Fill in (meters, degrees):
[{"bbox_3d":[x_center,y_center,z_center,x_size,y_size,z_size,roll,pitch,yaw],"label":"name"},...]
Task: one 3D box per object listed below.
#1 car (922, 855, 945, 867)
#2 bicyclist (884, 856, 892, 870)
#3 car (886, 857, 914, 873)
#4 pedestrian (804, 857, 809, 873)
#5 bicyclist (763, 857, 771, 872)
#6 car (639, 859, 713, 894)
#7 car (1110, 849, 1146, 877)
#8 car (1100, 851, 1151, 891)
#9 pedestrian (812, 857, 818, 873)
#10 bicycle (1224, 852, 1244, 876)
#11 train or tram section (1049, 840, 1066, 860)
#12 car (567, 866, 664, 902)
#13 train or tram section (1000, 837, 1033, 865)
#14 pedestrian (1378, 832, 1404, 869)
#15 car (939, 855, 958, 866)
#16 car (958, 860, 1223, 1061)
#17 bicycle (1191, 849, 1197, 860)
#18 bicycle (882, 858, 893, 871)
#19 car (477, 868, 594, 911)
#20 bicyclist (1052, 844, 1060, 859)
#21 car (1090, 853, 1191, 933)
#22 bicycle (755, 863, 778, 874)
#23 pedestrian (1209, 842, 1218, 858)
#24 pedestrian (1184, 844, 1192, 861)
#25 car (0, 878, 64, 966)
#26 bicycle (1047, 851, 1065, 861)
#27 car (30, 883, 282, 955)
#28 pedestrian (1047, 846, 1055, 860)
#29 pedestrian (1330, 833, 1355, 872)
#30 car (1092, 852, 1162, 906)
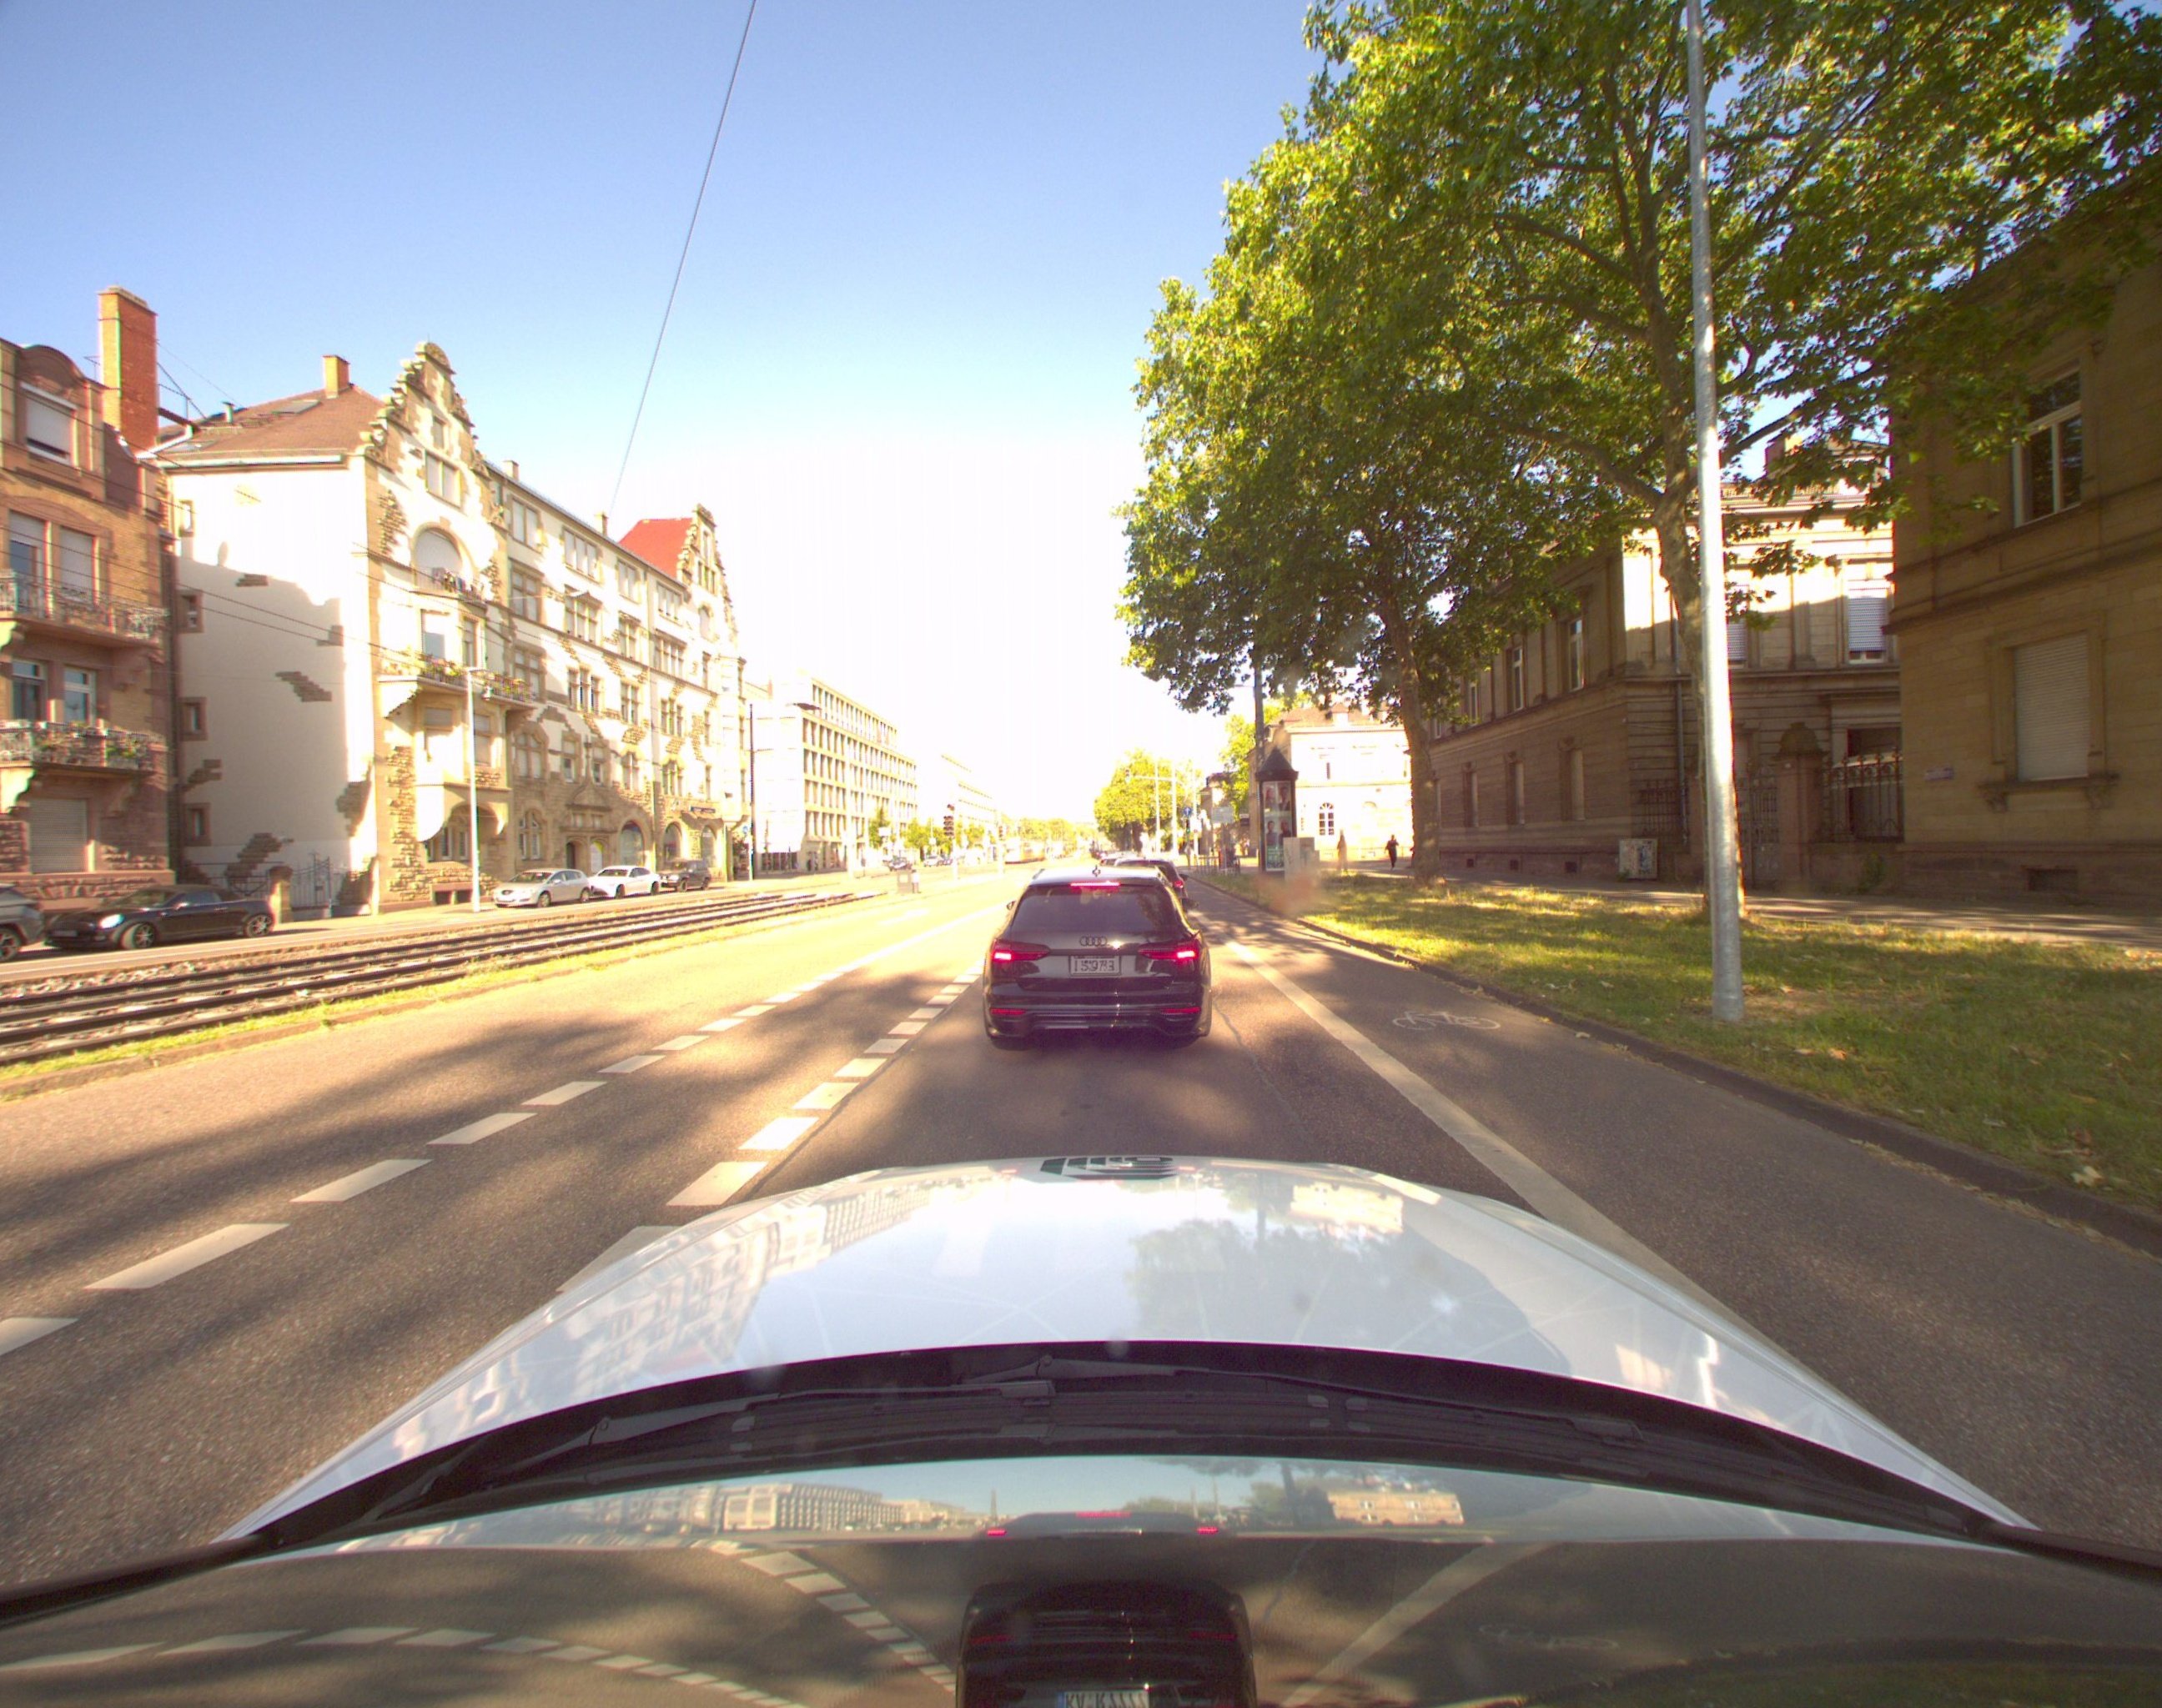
[{"bbox_3d":[-18.662,0.890,103.250,1.813,1.457,4.542,-2,0,2],"label":"car"},{"bbox_3d":[-21.942,0.974,92.584,0.682,1.563,0.786,-2,0,3],"label":"bicyclist"},{"bbox_3d":[-18.088,1.036,81.411,1.814,1.457,4.165,-2,0,-1],"label":"car"},{"bbox_3d":[-31.709,1.282,94.071,0.475,1.843,0.438,-2,0,-36],"label":"pedestrian"},{"bbox_3d":[-36.606,1.201,95.008,0.639,1.686,0.577,-2,0,1],"label":"bicyclist"},{"bbox_3d":[-21.092,1.110,42.644,1.711,1.675,4.217,0,0,1],"label":"car"},{"bbox_3d":[2.578,0.474,44.849,1.895,1.486,4.147,-1,0,3],"label":"car"},{"bbox_3d":[1.774,0.654,32.860,1.895,1.486,4.147,-1,0,3],"label":"car"},{"bbox_3d":[-30.834,1.247,94.446,0.535,1.843,0.438,-2,0,-36],"label":"pedestrian"},{"bbox_3d":[7.307,0.465,39.007,0.538,1.061,1.770,-2,0,-1],"label":"bicycle"},{"bbox_3d":[-4.279,-0.769,151.157,2.600,3.450,11.132,-2,0,1],"label":"train or tram section"},{"bbox_3d":[-21.248,1.317,37.409,1.711,1.423,4.656,0,0,1],"label":"car"},{"bbox_3d":[-8.758,-0.449,112.351,2.802,3.489,13.211,-2,0,2],"label":"train or tram section"},{"bbox_3d":[13.792,-0.146,36.212,0.766,1.606,0.987,-2,0,3],"label":"pedestrian"},{"bbox_3d":[-18.517,0.853,113.871,1.813,1.457,4.159,-2,0,2],"label":"car"},{"bbox_3d":[0.162,0.792,7.961,1.895,1.422,4.147,-1,0,3],"label":"car"},{"bbox_3d":[11.430,0.051,82.344,0.433,1.145,1.340,-2,0,0],"label":"bicycle"},{"bbox_3d":[-21.998,1.191,92.603,0.682,1.381,1.949,-2,0,3],"label":"bicycle"},{"bbox_3d":[-21.147,1.331,31.797,1.704,1.431,4.223,0,0,0],"label":"car"},{"bbox_3d":[-3.026,-0.274,98.464,0.758,1.818,0.760,-2,0,-18],"label":"bicyclist"},{"bbox_3d":[1.220,0.746,17.459,1.895,1.486,4.147,-1,0,3],"label":"car"},{"bbox_3d":[-36.684,1.694,95.008,2.372,1.215,0.577,-2,0,1],"label":"bicycle"},{"bbox_3d":[15.900,-0.530,97.815,0.975,1.865,0.827,-2,0,2],"label":"pedestrian"},{"bbox_3d":[10.801,-0.172,82.345,0.679,1.660,0.758,-2,0,0],"label":"pedestrian"},{"bbox_3d":[-21.798,1.334,14.414,1.849,1.622,4.504,1,0,1],"label":"car"},{"bbox_3d":[-3.069,0.202,98.441,2.011,1.108,0.760,-2,0,-18],"label":"bicycle"},{"bbox_3d":[-21.520,1.448,19.199,1.616,1.354,3.727,1,0,1],"label":"car"},{"bbox_3d":[-3.704,-0.096,100.015,0.741,1.741,0.660,-2,0,-16],"label":"pedestrian"},{"bbox_3d":[11.706,-0.073,36.502,0.766,1.709,1.043,-2,0,3],"label":"pedestrian"},{"bbox_3d":[1.373,0.705,24.626,1.895,1.486,4.147,-1,0,3],"label":"car"}]
